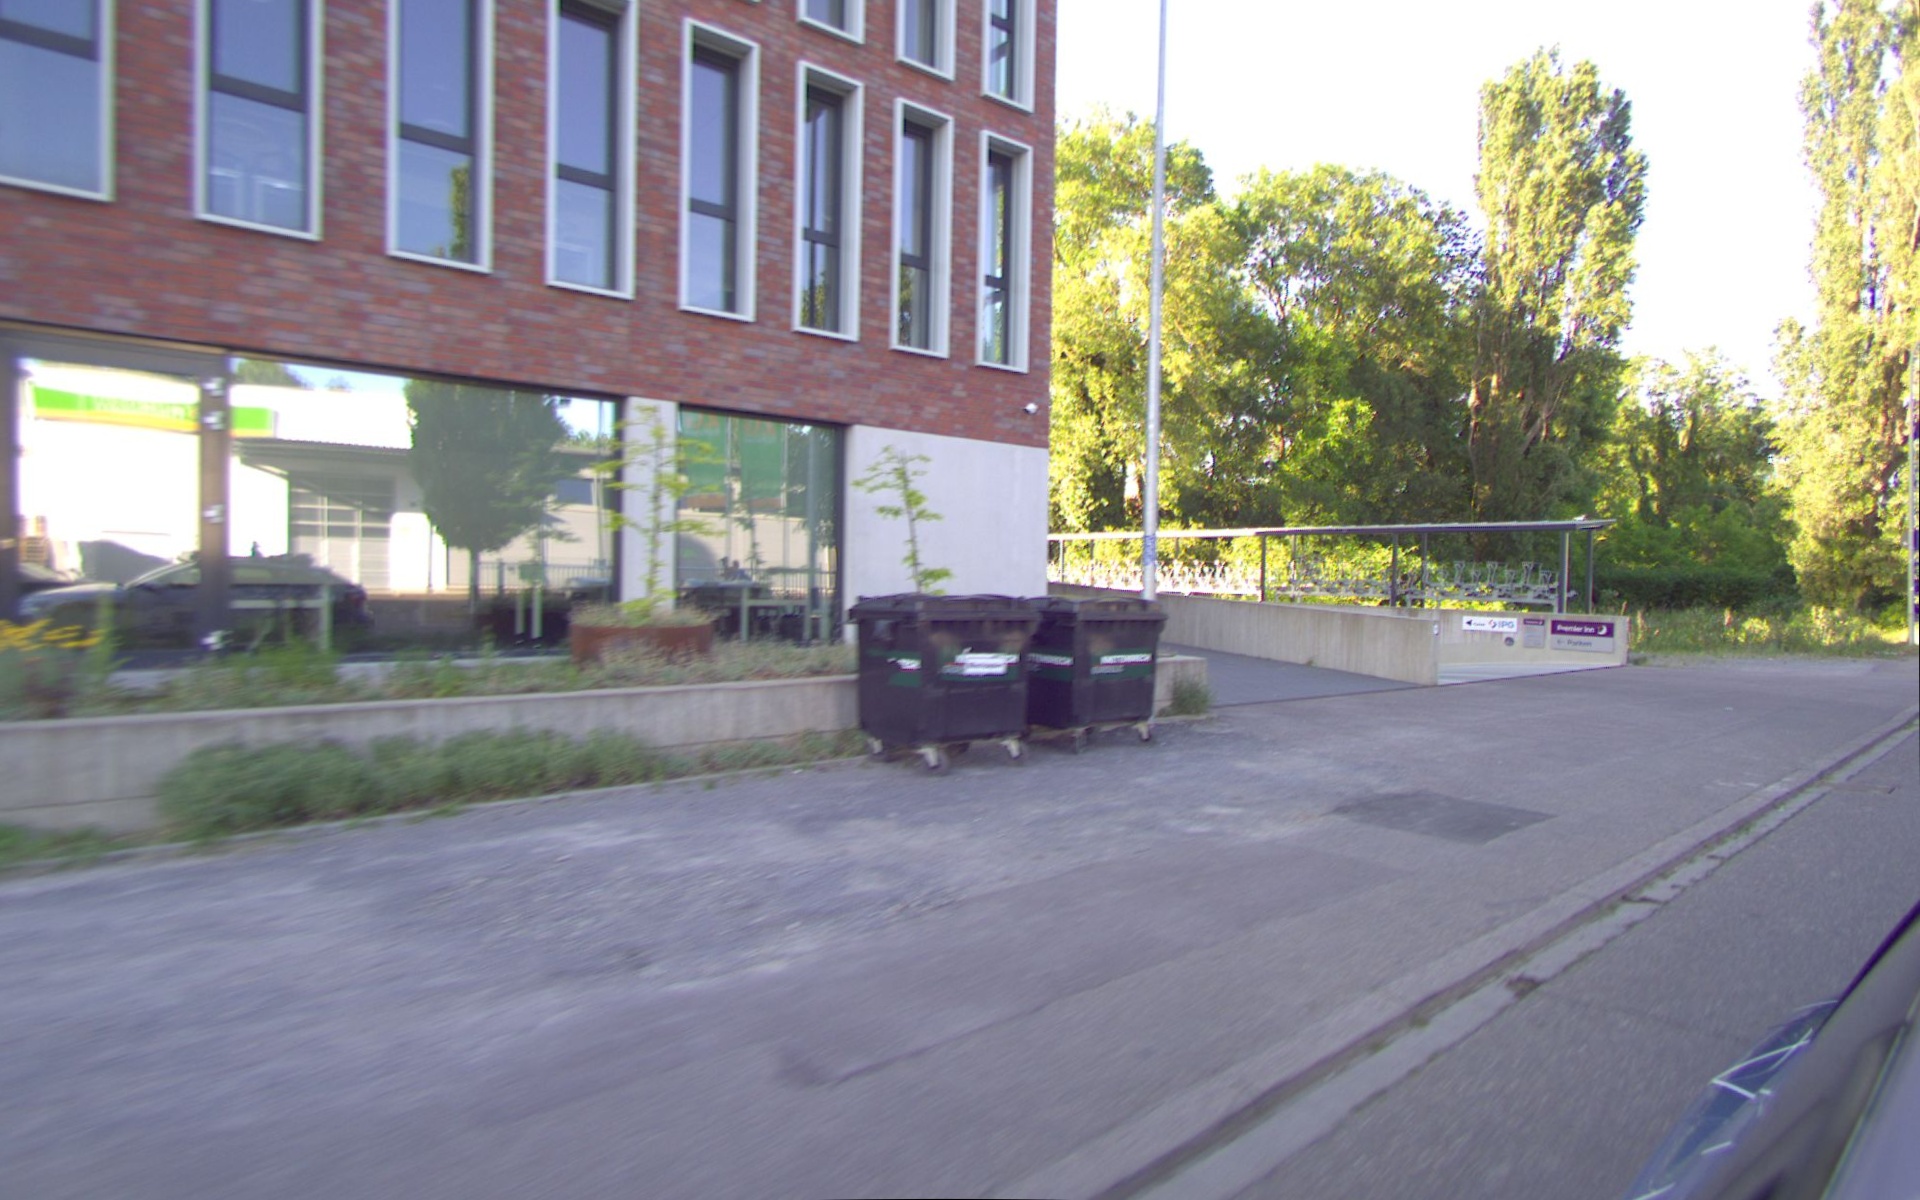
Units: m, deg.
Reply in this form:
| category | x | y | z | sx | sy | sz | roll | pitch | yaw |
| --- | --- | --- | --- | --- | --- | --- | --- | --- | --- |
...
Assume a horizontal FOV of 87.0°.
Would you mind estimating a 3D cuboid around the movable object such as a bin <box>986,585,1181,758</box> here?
| category | x | y | z | sx | sy | sz | roll | pitch | yaw |
| --- | --- | --- | --- | --- | --- | --- | --- | --- | --- |
| movable object such as a bin | 1.102 | 0.566 | 9.034 | 1.322 | 1.389 | 1.130 | 0 | 1 | -41 |

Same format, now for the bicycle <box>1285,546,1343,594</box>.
| category | x | y | z | sx | sy | sz | roll | pitch | yaw |
| --- | --- | --- | --- | --- | --- | --- | --- | --- | --- |
| bicycle | 10.018 | -0.843 | 28.618 | 1.955 | 1.338 | 0.632 | -1 | 1 | -40 |

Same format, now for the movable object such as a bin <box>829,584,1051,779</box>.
| category | x | y | z | sx | sy | sz | roll | pitch | yaw |
| --- | --- | --- | --- | --- | --- | --- | --- | --- | --- |
| movable object such as a bin | -0.157 | 0.556 | 7.940 | 1.322 | 1.352 | 1.130 | 0 | 1 | -41 |
